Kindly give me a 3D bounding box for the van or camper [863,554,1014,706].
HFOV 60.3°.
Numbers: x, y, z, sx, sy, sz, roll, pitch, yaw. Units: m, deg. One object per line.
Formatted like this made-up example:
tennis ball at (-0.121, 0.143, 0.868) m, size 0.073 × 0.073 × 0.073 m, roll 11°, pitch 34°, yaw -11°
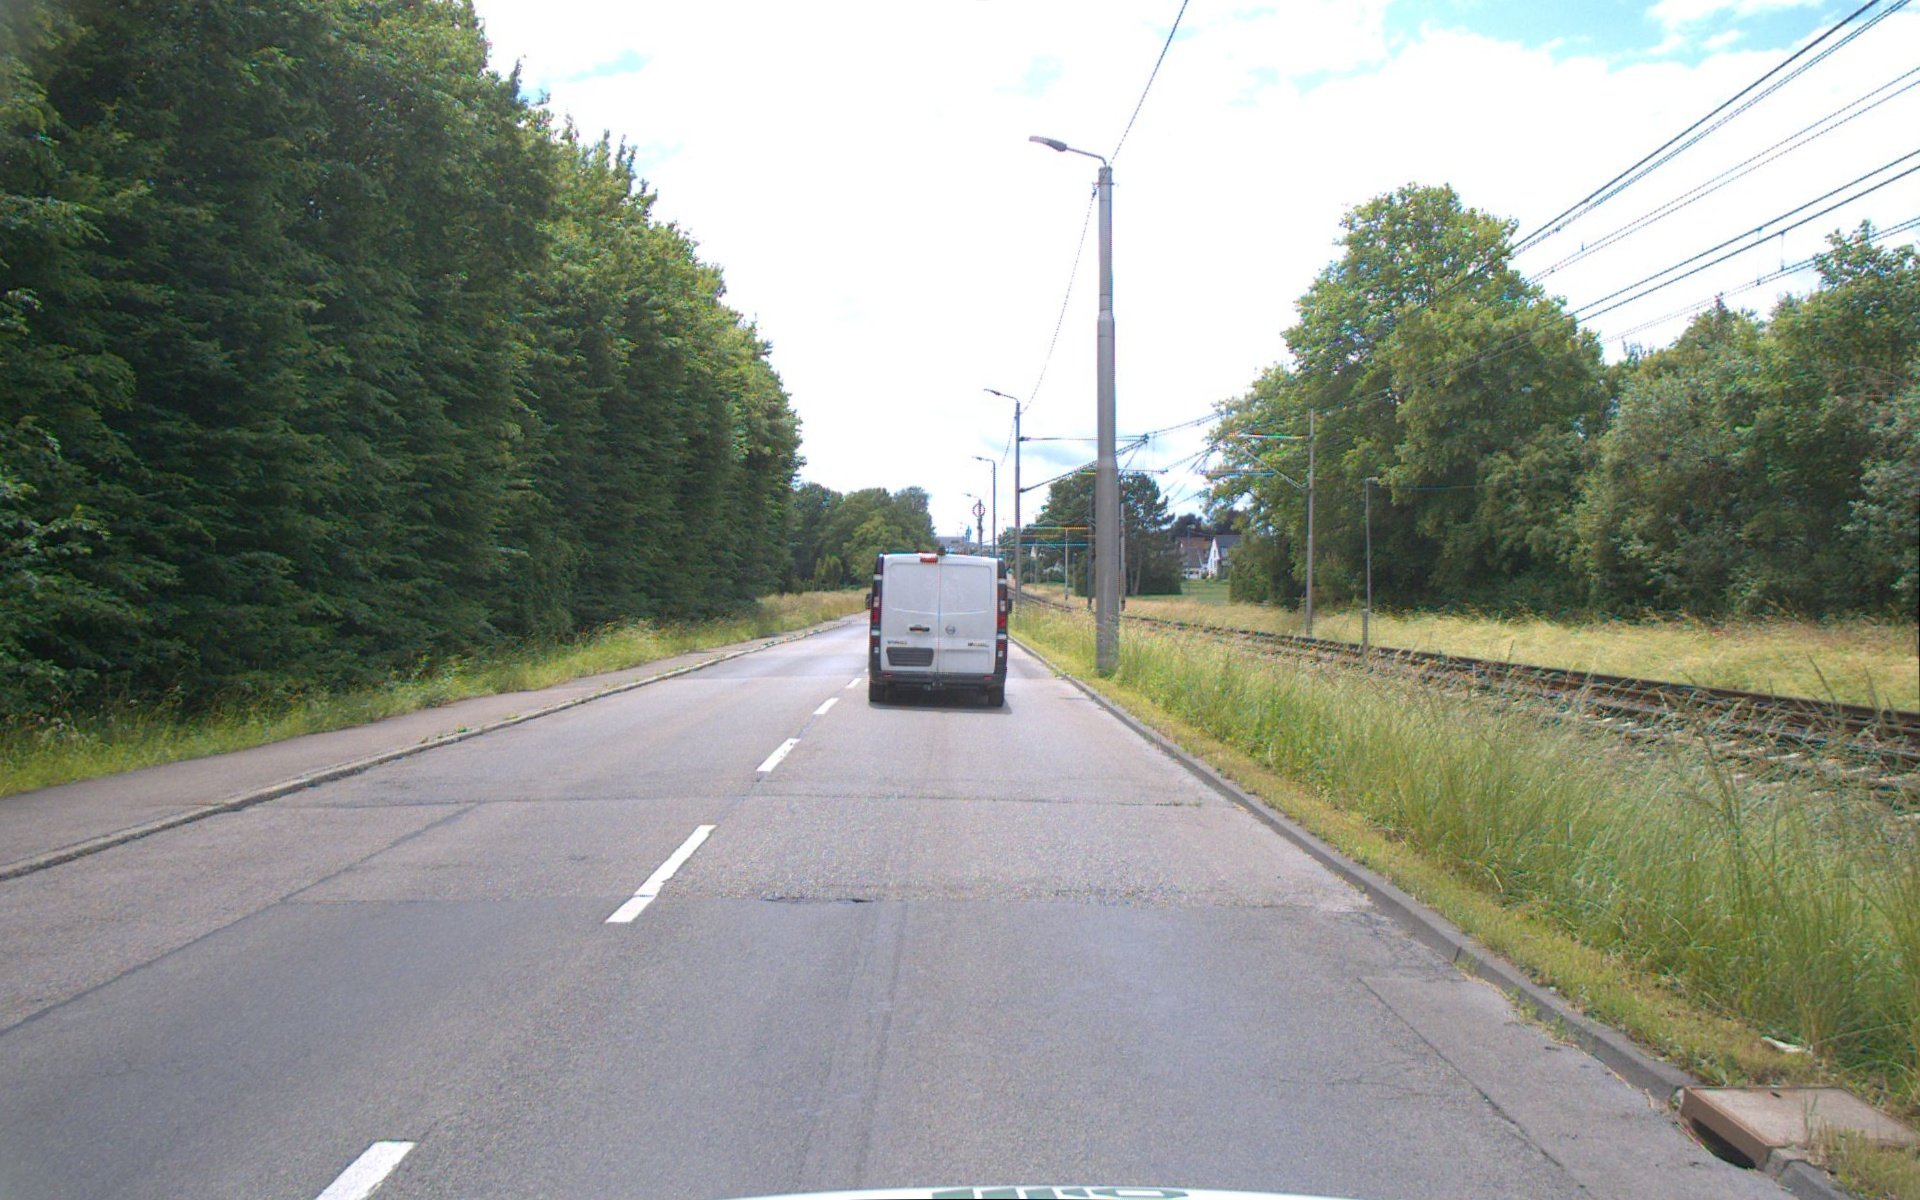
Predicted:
van or camper at (-0.247, 0.380, 23.175) m, size 1.902 × 1.930 × 4.285 m, roll 0°, pitch 0°, yaw 1°
